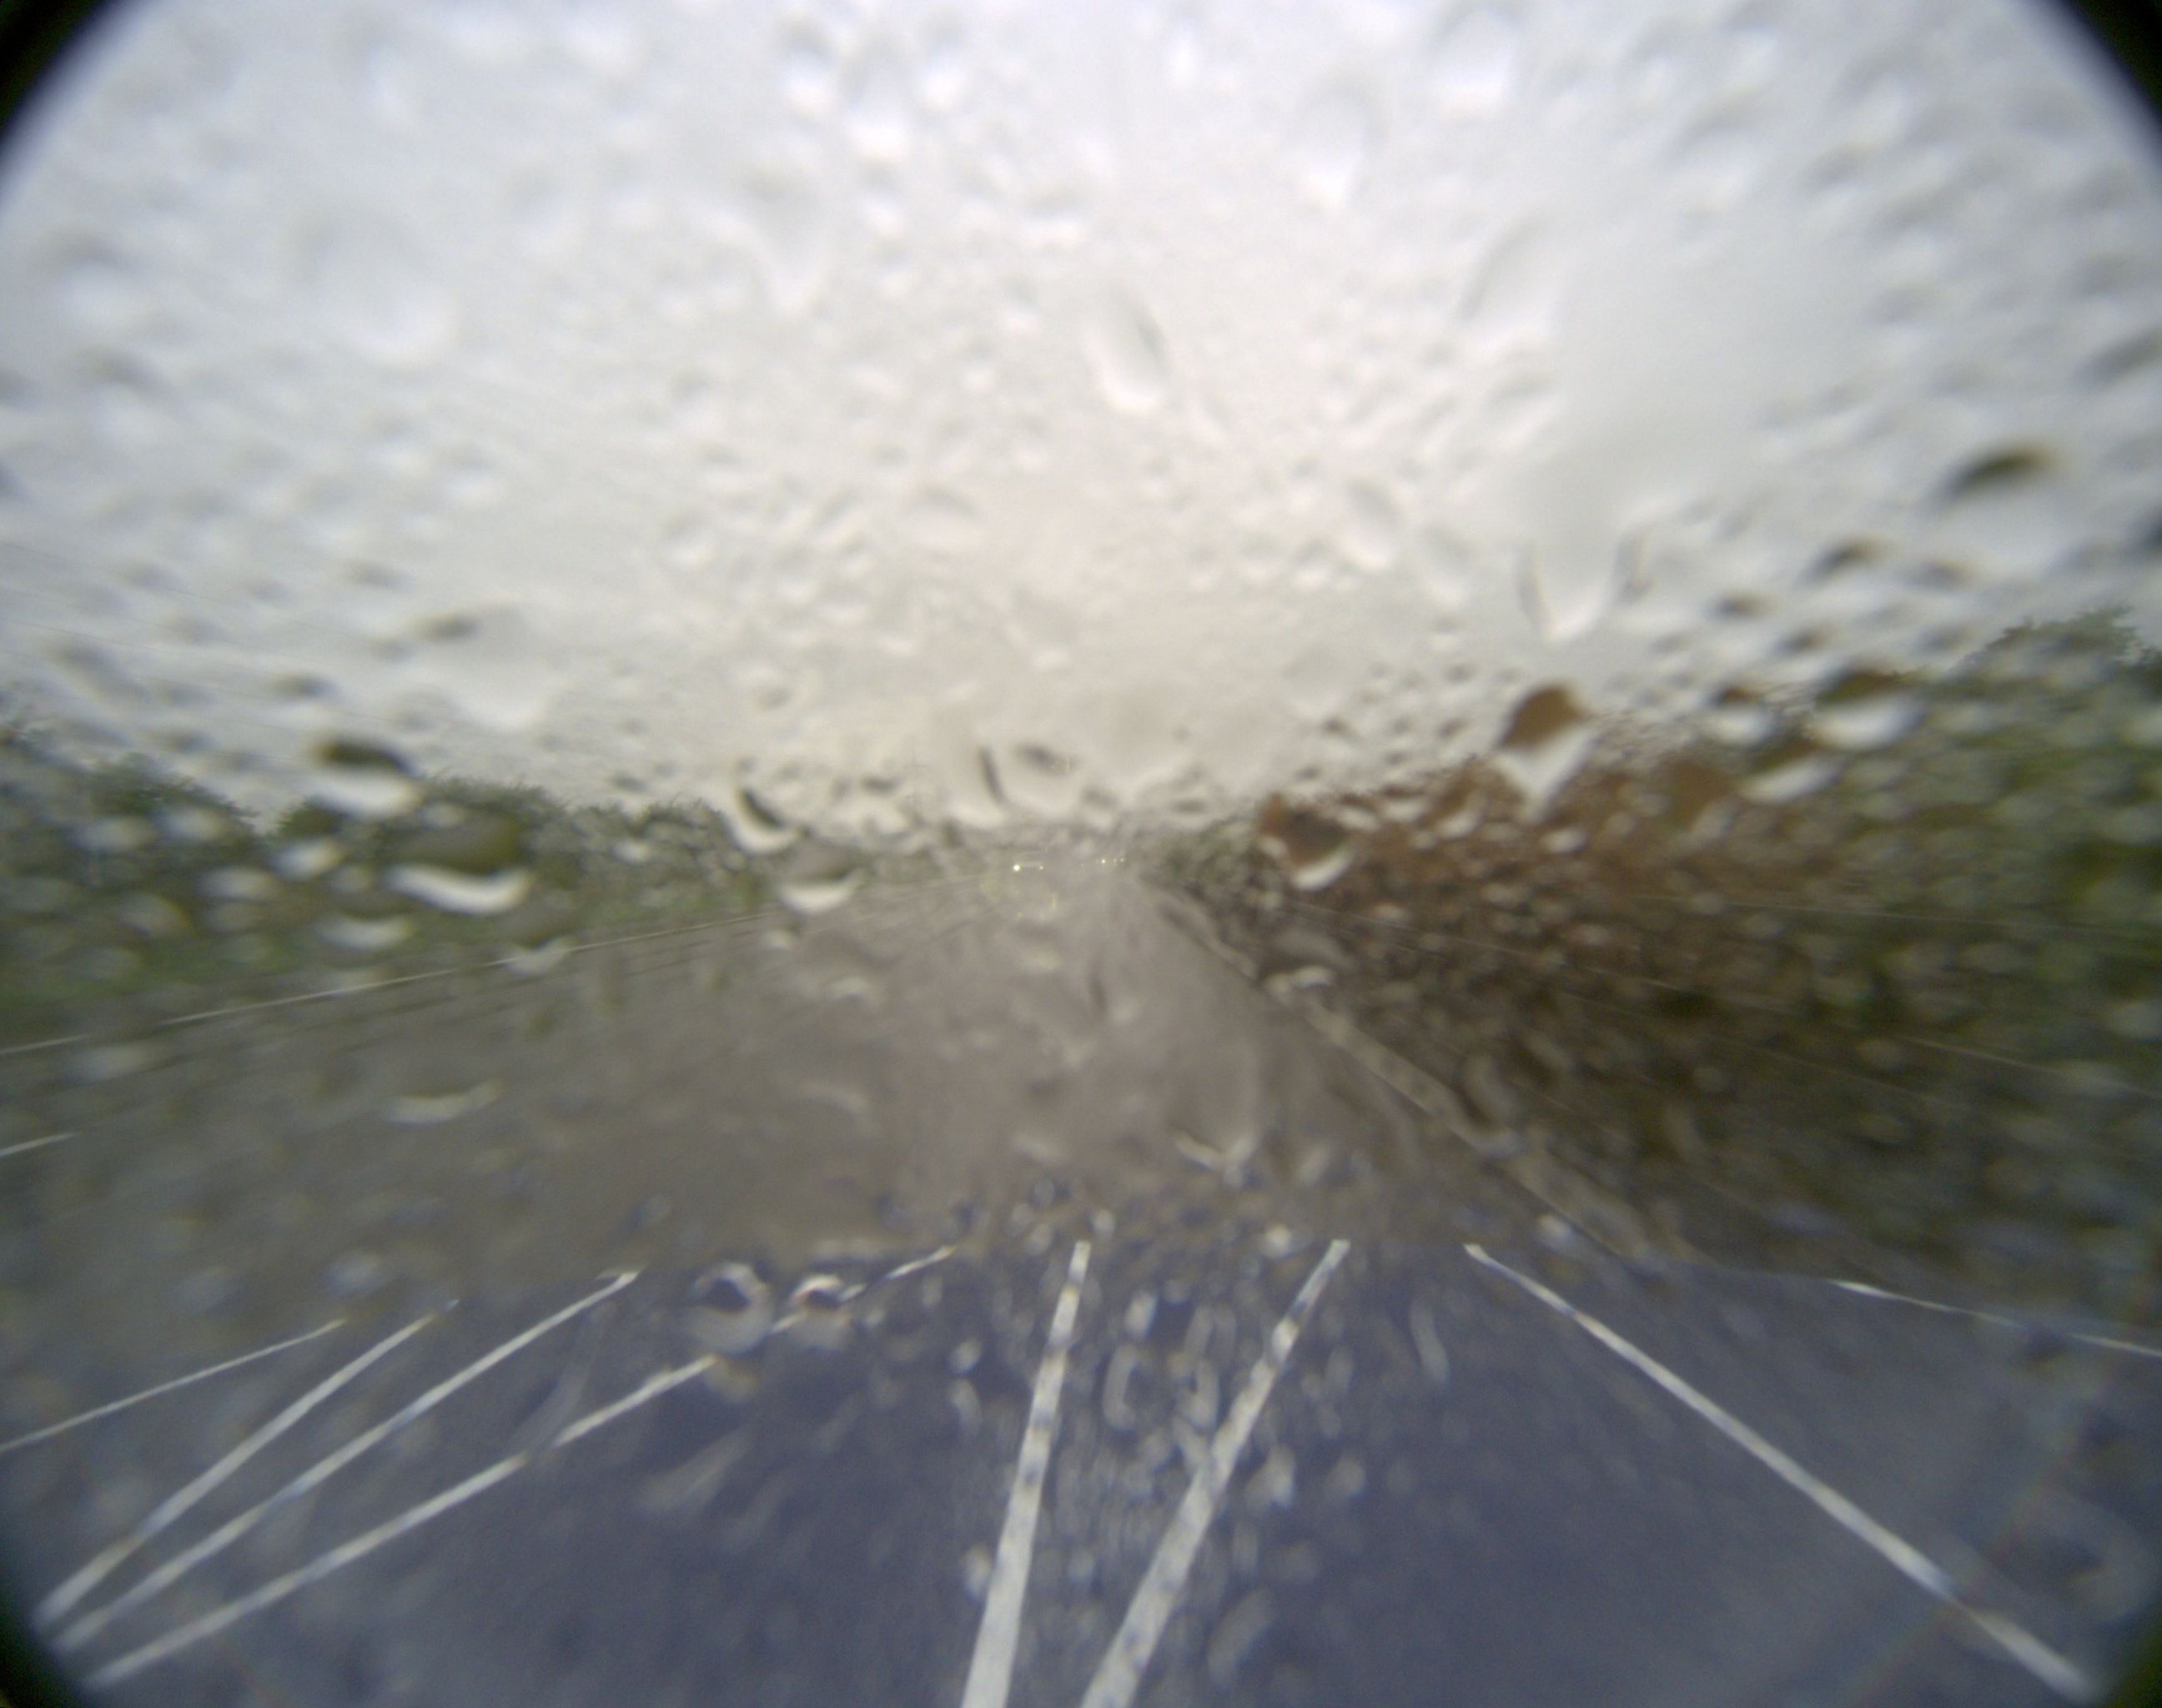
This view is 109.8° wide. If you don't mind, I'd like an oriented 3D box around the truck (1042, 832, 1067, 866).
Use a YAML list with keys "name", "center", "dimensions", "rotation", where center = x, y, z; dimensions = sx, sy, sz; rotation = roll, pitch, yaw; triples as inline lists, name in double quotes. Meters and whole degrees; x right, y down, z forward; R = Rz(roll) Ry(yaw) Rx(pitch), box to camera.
- name: "truck"
  center: [-3.904, -0.717, 114.026]
  dimensions: [3.136, 4.641, 11.403]
  rotation: [-2, 0, 0]

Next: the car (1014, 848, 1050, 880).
- name: "car"
  center: [-3.257, 0.638, 51.132]
  dimensions: [1.998, 2.002, 4.000]
  rotation: [-3, 0, 1]

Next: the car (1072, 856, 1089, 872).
- name: "car"
  center: [-0.065, 1.303, 99.950]
  dimensions: [1.999, 2.002, 3.999]
  rotation: [-2, 0, -3]
